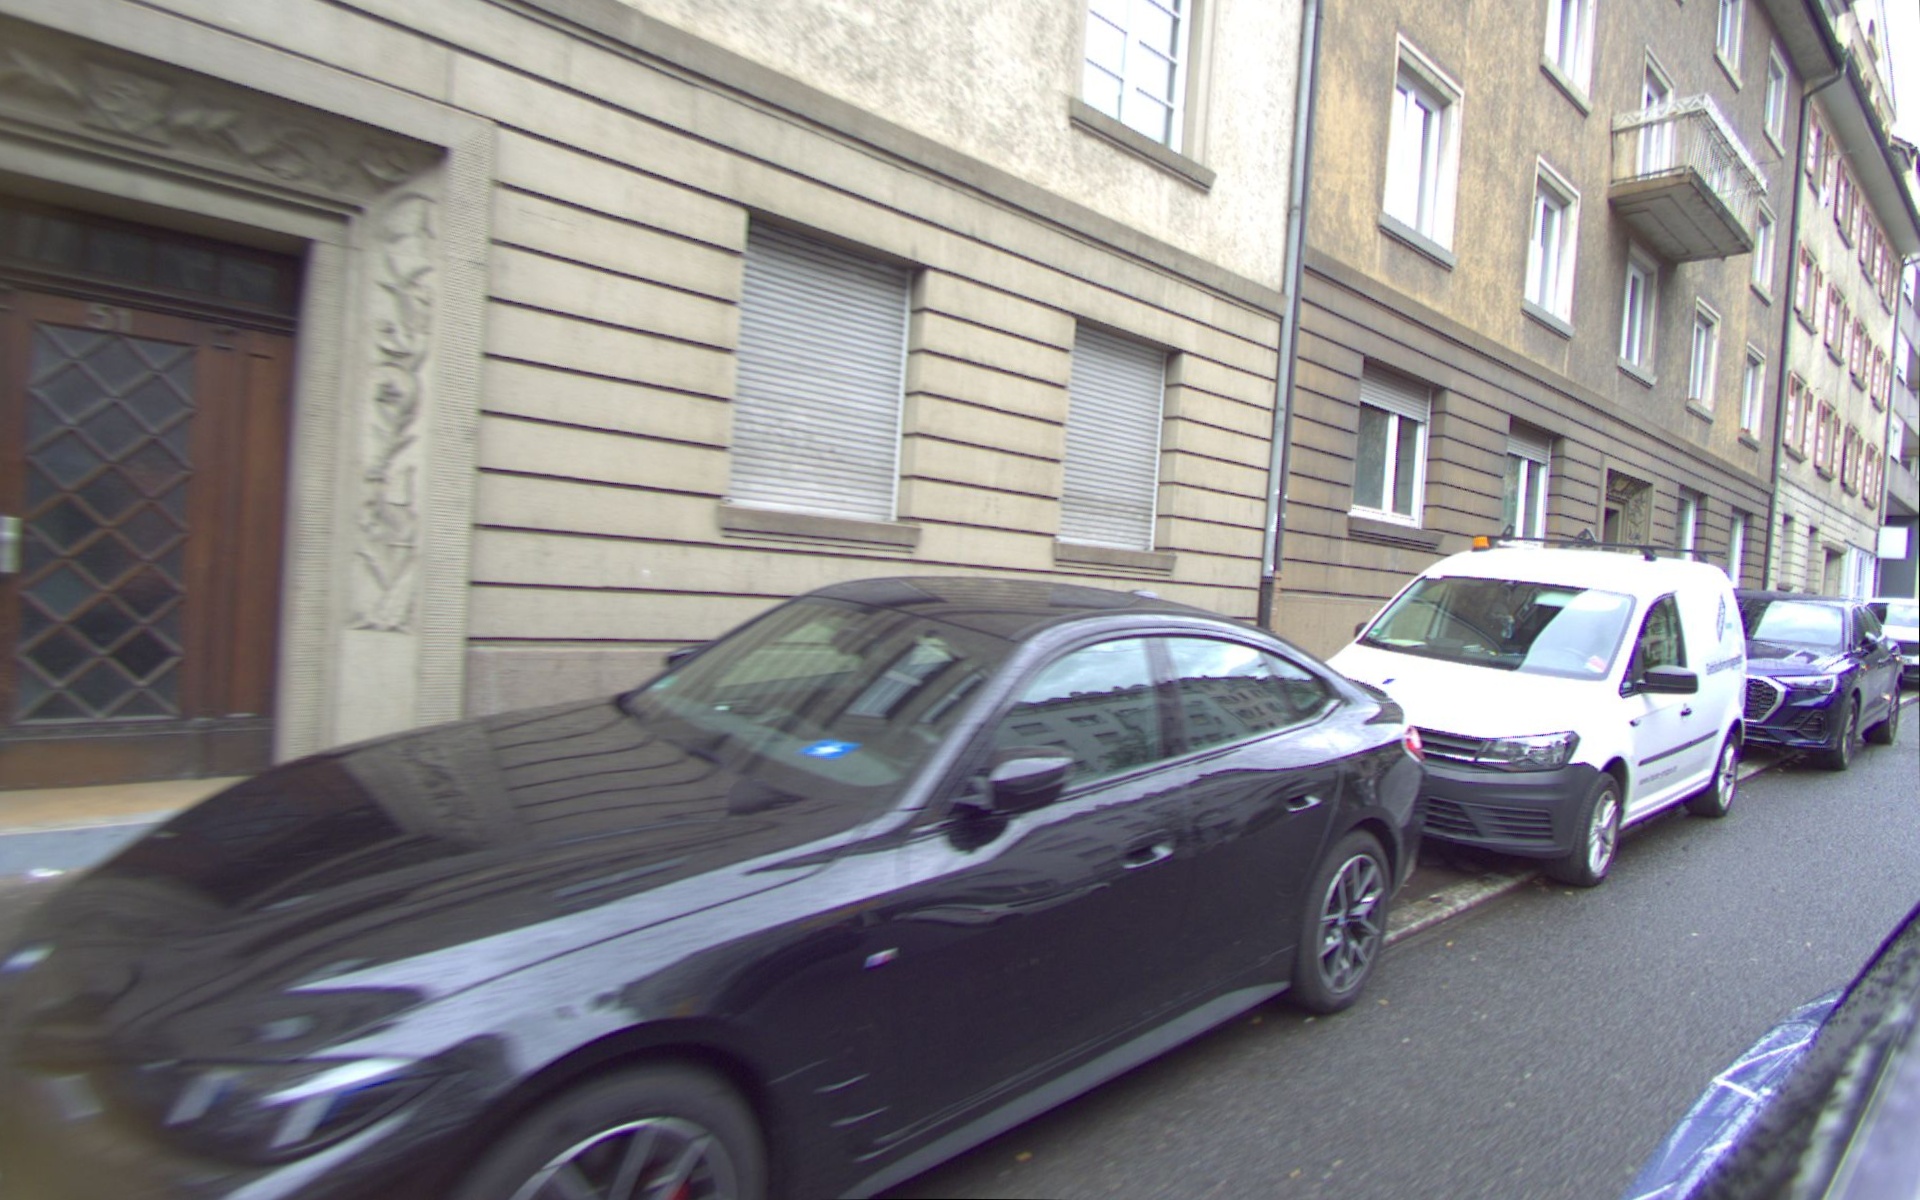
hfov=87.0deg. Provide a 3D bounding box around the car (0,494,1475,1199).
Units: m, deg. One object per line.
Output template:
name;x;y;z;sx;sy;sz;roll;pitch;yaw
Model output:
car;-0.209;0.541;3.287;4.312;1.425;1.845;0;6;-42

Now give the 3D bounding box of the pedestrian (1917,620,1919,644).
pedestrian;26.407;0.350;27.146;0.678;1.808;0.709;5;5;20

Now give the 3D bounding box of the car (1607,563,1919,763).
car;8.501;0.514;10.487;4.151;1.566;1.795;0;5;-40

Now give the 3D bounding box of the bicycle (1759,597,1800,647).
bicycle;18.891;0.491;23.316;2.069;1.086;0.248;-1;6;-40

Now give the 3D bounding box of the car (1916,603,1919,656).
car;24.974;0.607;24.783;4.508;1.497;1.782;-1;4;-41

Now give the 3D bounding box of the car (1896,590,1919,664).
car;21.697;0.632;21.941;3.671;1.495;1.636;0;7;-43

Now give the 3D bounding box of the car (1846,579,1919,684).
car;17.509;0.554;18.318;4.124;1.657;1.636;0;6;-43

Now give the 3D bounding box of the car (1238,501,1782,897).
car;3.826;0.414;6.746;4.009;1.839;1.795;0;5;-41
